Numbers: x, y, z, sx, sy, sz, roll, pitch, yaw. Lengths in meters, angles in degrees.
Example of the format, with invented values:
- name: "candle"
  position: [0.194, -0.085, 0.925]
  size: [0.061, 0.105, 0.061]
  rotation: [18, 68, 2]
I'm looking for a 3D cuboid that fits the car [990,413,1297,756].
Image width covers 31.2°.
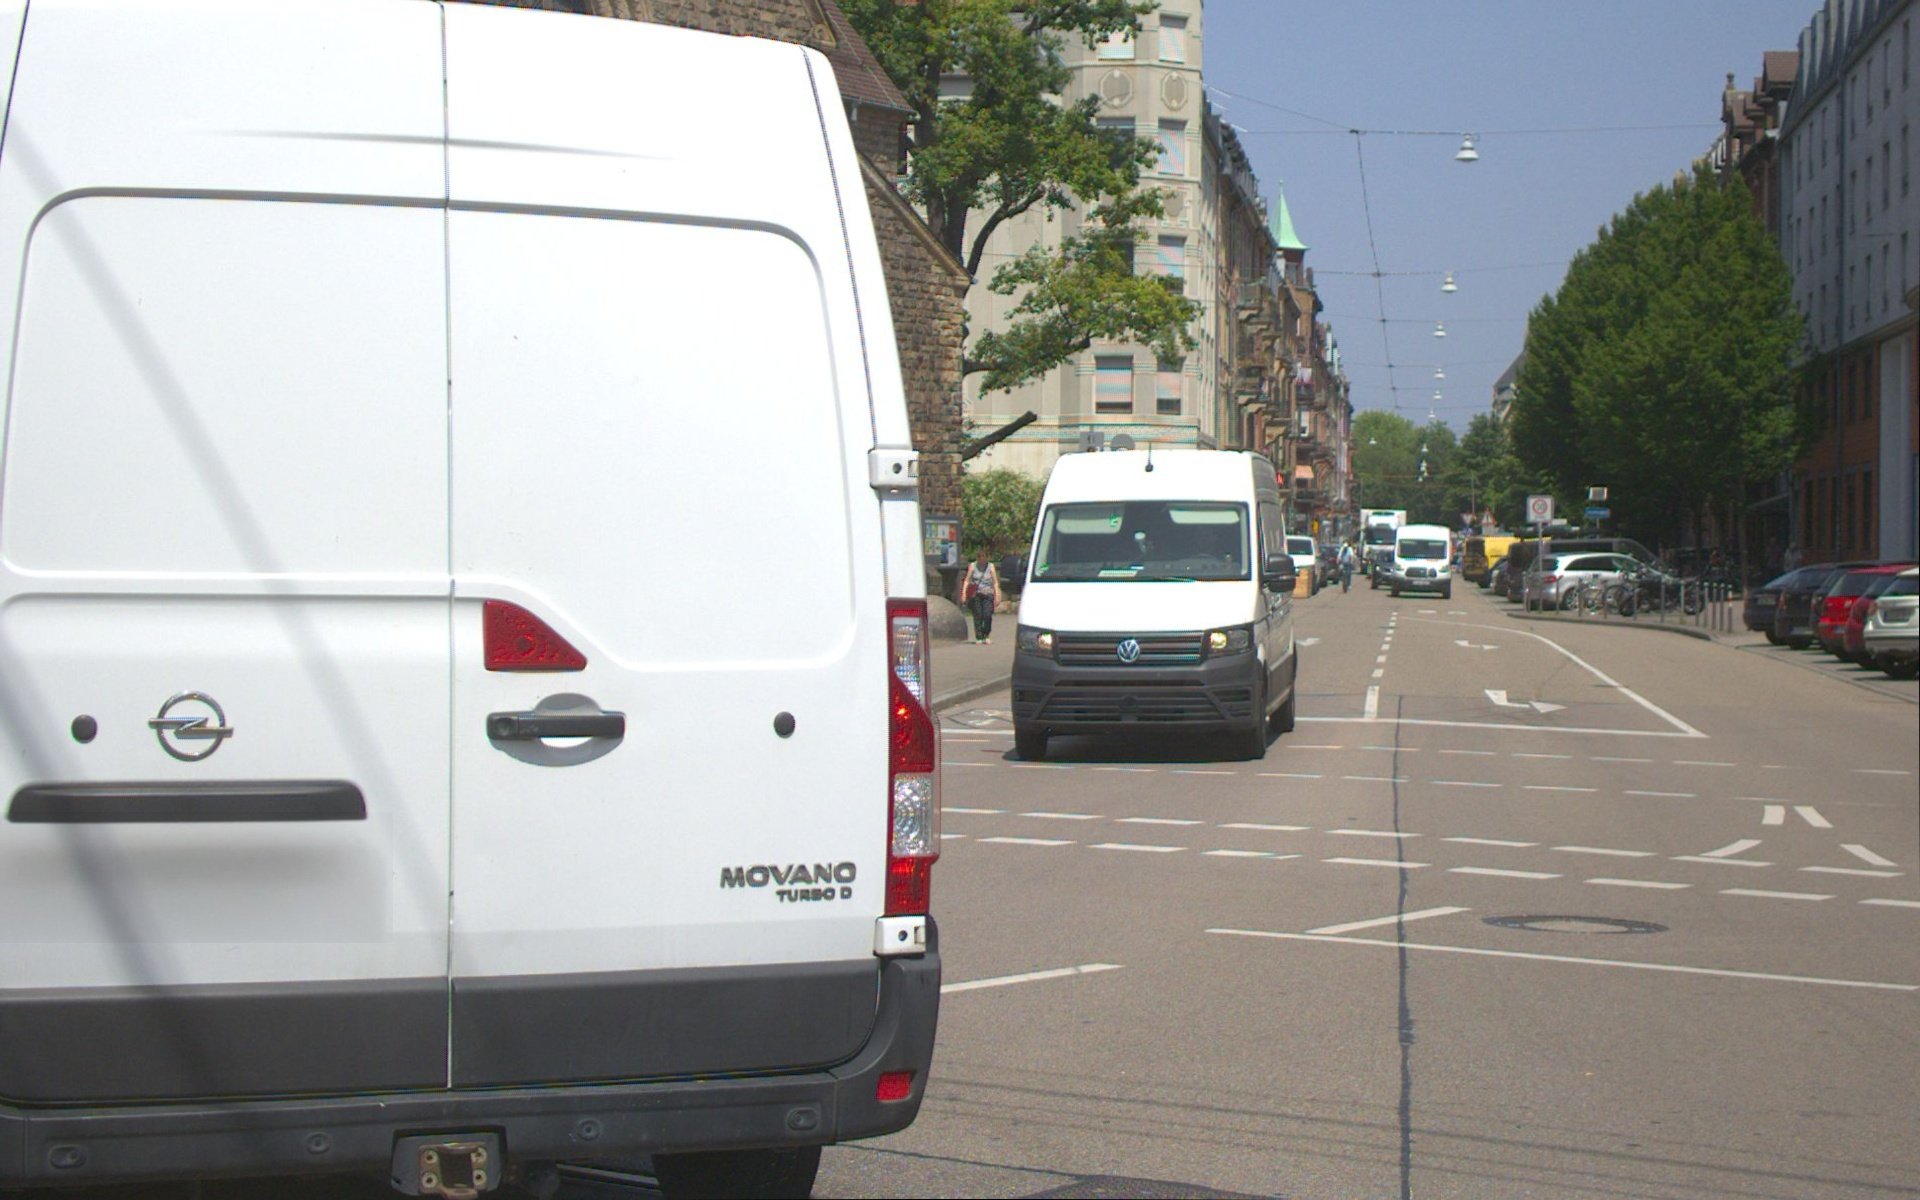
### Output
- name: "car"
  position: [1.728, -0.144, 29.737]
  size: [2.071, 2.628, 6.631]
  rotation: [0, 0, 8]

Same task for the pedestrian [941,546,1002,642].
- name: "pedestrian"
  position: [0.193, -0.099, 56.262]
  size: [0.719, 1.553, 0.791]
  rotation: [1, 0, 26]

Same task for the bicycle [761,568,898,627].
- name: "bicycle"
  position: [-2.324, -0.056, 61.145]
  size: [2.495, 1.008, 0.705]
  rotation: [1, 1, 34]

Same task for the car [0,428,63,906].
- name: "car"
  position: [-5.580, 0.242, 15.407]
  size: [1.916, 1.937, 4.264]
  rotation: [0, 1, -30]

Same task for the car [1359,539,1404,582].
- name: "car"
  position: [20.537, -1.912, 167.268]
  size: [1.994, 2.007, 3.998]
  rotation: [1, 0, 9]

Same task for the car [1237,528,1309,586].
- name: "car"
  position: [9.753, -1.358, 107.401]
  size: [1.954, 1.744, 4.000]
  rotation: [0, 1, 1]

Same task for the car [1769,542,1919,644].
- name: "car"
  position: [14.917, -0.128, 56.032]
  size: [3.217, 1.570, 1.616]
  rotation: [-2, 0, -36]

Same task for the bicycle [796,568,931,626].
- name: "bicycle"
  position: [-1.746, -0.061, 62.135]
  size: [2.495, 1.008, 0.705]
  rotation: [1, 0, 34]

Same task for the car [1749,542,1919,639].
- name: "car"
  position: [15.076, -0.176, 58.779]
  size: [3.218, 1.570, 1.495]
  rotation: [-1, 0, -42]

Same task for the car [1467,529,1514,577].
- name: "car"
  position: [22.978, -2.009, 148.801]
  size: [1.907, 2.007, 3.998]
  rotation: [0, 0, 10]

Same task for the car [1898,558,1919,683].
- name: "car"
  position: [13.695, 0.210, 43.708]
  size: [3.216, 1.570, 1.617]
  rotation: [-2, 0, -32]

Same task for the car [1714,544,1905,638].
- name: "car"
  position: [15.180, -0.162, 61.399]
  size: [3.217, 1.570, 1.616]
  rotation: [-2, 0, -38]

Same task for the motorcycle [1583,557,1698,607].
- name: "motorcycle"
  position: [16.380, -0.445, 82.808]
  size: [2.711, 1.170, 0.775]
  rotation: [1, 0, 10]

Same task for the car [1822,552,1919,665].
- name: "car"
  position: [14.199, 0.095, 49.403]
  size: [3.216, 1.570, 1.617]
  rotation: [-2, 0, -27]

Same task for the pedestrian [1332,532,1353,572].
- name: "pedestrian"
  position: [13.586, -1.701, 122.163]
  size: [0.730, 1.415, 0.798]
  rotation: [0, 1, 5]

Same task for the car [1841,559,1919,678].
- name: "car"
  position: [13.737, 0.217, 46.542]
  size: [3.216, 1.570, 1.617]
  rotation: [-2, 0, -29]

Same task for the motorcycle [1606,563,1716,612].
- name: "motorcycle"
  position: [17.057, -0.314, 83.710]
  size: [2.591, 1.170, 0.682]
  rotation: [1, 0, 10]

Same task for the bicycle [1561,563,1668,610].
- name: "bicycle"
  position: [16.492, -0.345, 86.600]
  size: [2.589, 1.170, 0.683]
  rotation: [0, 0, -14]

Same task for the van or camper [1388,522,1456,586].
- name: "van or camper"
  position: [15.774, -1.602, 117.470]
  size: [2.036, 2.134, 4.579]
  rotation: [0, 1, 4]

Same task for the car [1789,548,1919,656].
- name: "car"
  position: [14.387, 0.011, 52.126]
  size: [3.216, 1.570, 1.617]
  rotation: [-2, 0, -27]

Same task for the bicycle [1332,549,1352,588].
- name: "bicycle"
  position: [13.578, -1.133, 122.238]
  size: [0.673, 1.354, 2.069]
  rotation: [0, 1, 5]

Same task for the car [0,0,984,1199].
- name: "car"
  position: [-1.893, 0.105, 8.414]
  size: [2.116, 2.450, 5.055]
  rotation: [0, 0, -22]

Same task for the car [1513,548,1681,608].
- name: "car"
  position: [16.843, -0.584, 90.894]
  size: [3.986, 1.543, 1.750]
  rotation: [0, 0, -16]

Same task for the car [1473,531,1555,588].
- name: "car"
  position: [17.272, -1.281, 107.375]
  size: [1.954, 1.744, 4.000]
  rotation: [0, 1, 1]
